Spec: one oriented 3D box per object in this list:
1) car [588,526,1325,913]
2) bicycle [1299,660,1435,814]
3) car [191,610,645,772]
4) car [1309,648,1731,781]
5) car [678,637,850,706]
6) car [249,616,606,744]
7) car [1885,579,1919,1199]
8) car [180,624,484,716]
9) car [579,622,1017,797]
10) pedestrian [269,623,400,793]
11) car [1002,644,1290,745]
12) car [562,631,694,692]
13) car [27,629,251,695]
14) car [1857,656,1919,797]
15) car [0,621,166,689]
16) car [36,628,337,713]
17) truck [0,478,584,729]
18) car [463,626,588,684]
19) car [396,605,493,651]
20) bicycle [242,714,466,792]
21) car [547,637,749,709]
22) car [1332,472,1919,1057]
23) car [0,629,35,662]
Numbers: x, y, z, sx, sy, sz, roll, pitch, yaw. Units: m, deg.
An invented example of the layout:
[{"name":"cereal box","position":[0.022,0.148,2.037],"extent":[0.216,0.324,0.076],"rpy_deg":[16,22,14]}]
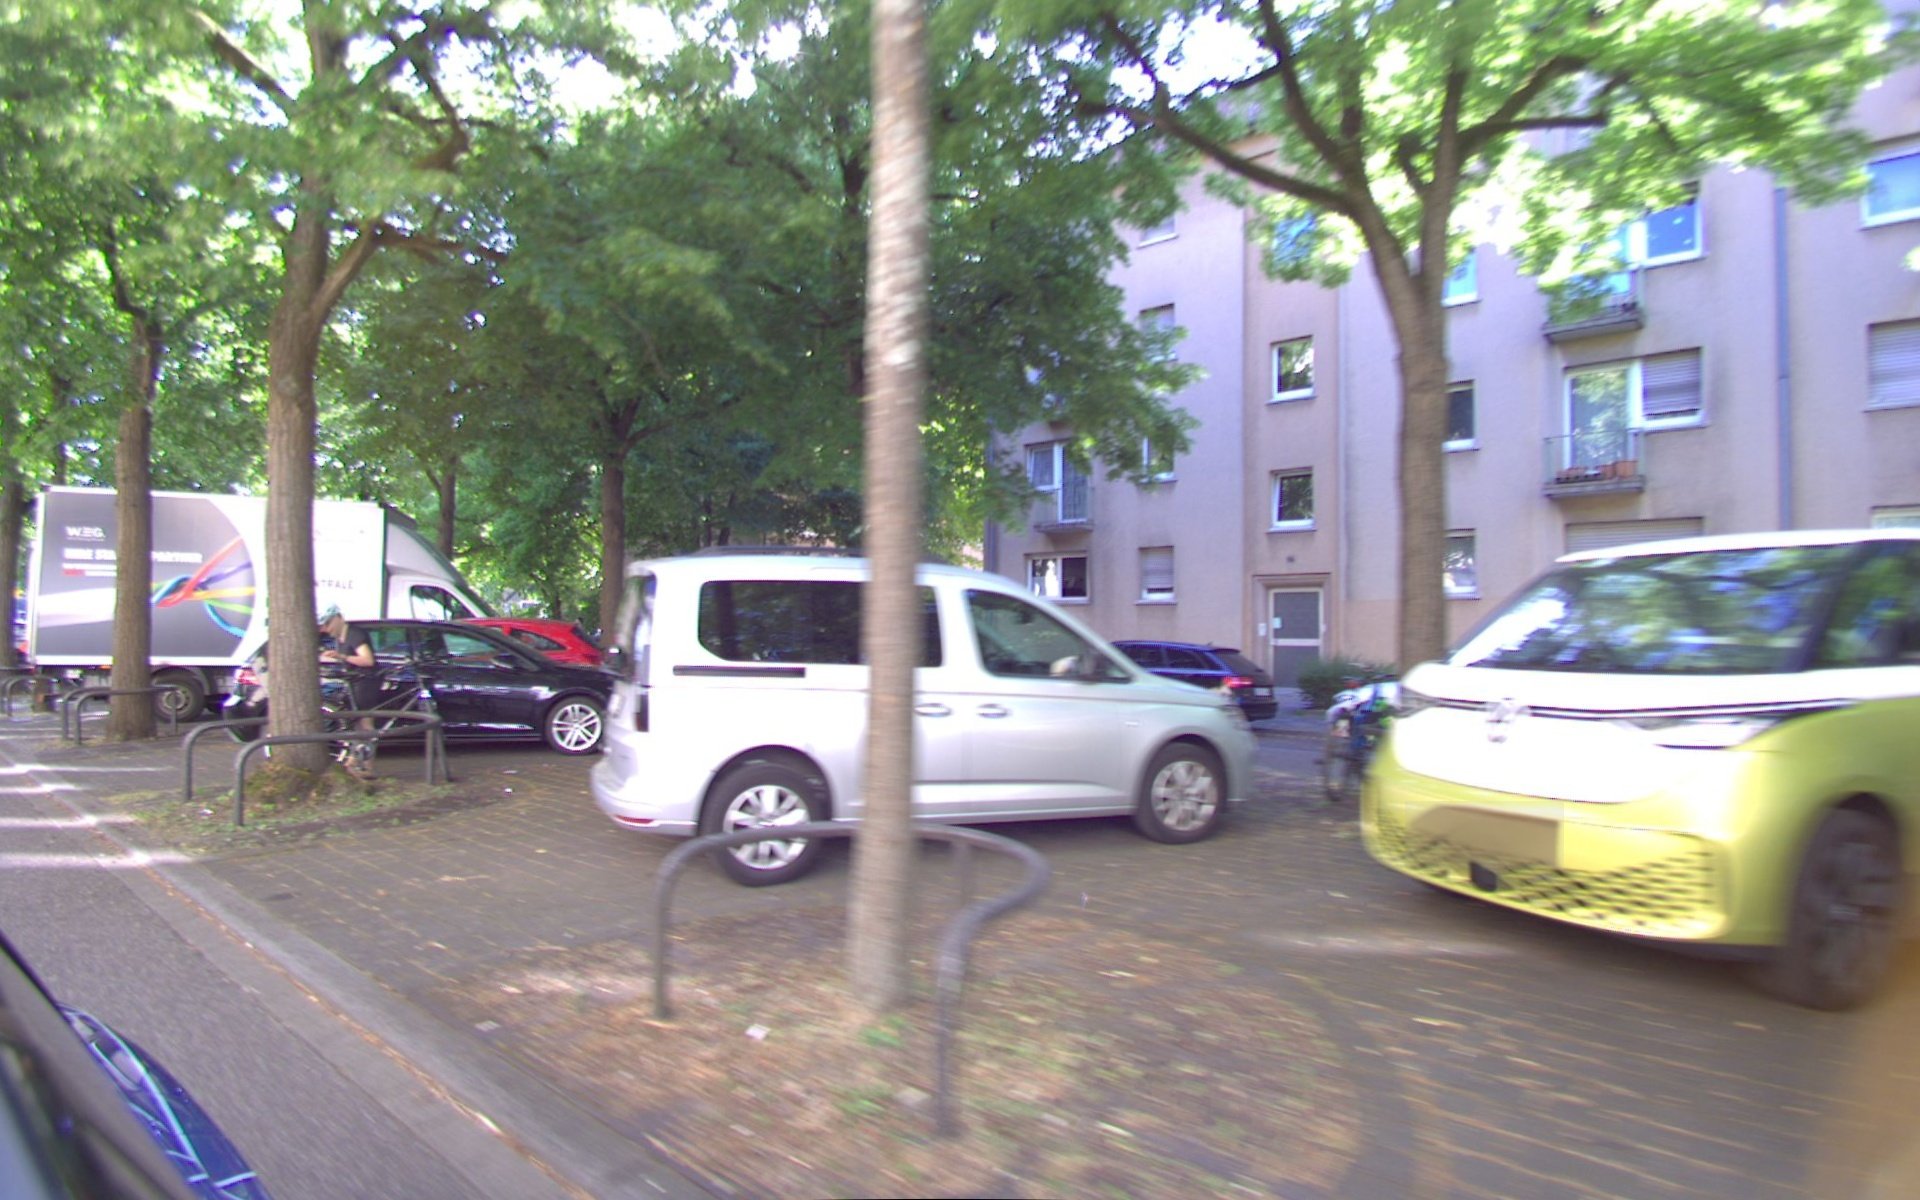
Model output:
[{"name":"car","position":[-0.047,0.618,6.767],"extent":[4.445,1.879,2.088],"rpy_deg":[1,-2,-24]},{"name":"bicycle","position":[3.503,1.096,8.614],"extent":[0.518,1.145,1.918],"rpy_deg":[-2,-3,39]},{"name":"car","position":[-5.519,0.881,10.899],"extent":[4.038,1.518,1.738],"rpy_deg":[0,-2,-17]},{"name":"car","position":[7.166,1.366,13.261],"extent":[4.613,1.403,1.710],"rpy_deg":[-1,-3,40]},{"name":"car","position":[-4.703,1.621,23.942],"extent":[4.342,1.446,1.745],"rpy_deg":[-2,-3,42]},{"name":"car","position":[-6.839,0.980,13.496],"extent":[3.931,1.514,1.854],"rpy_deg":[0,-2,-17]},{"name":"car","position":[4.272,0.694,1.836],"extent":[4.413,1.466,1.793],"rpy_deg":[1,-2,-17]},{"name":"car","position":[-11.057,1.199,18.160],"extent":[4.270,1.518,1.818],"rpy_deg":[1,-2,-15]},{"name":"car","position":[-1.502,0.917,9.500],"extent":[3.737,1.417,1.628],"rpy_deg":[0,-2,-15]},{"name":"pedestrian","position":[-5.475,0.911,8.917],"extent":[0.740,1.407,0.931],"rpy_deg":[1,-2,-17]},{"name":"car","position":[2.980,1.464,16.840],"extent":[4.532,1.417,1.602],"rpy_deg":[-1,-3,40]},{"name":"car","position":[-9.273,1.650,28.138],"extent":[3.948,1.581,1.735],"rpy_deg":[-2,-3,42]},{"name":"car","position":[-19.426,1.441,24.143],"extent":[3.757,1.492,1.767],"rpy_deg":[1,-2,-20]},{"name":"car","position":[11.350,1.275,9.740],"extent":[3.998,1.398,1.872],"rpy_deg":[-1,-3,41]},{"name":"car","position":[-24.398,1.469,27.330],"extent":[4.262,1.684,1.843],"rpy_deg":[-1,-1,-19]},{"name":"car","position":[-14.843,1.320,19.697],"extent":[4.270,1.518,1.818],"rpy_deg":[1,-2,-15]},{"name":"truck","position":[-9.734,0.150,15.618],"extent":[7.200,3.319,2.554],"rpy_deg":[1,-3,-17]},{"name":"car","position":[-13.285,1.639,30.844],"extent":[4.243,1.652,1.736],"rpy_deg":[-1,-2,40]},{"name":"car","position":[-18.237,0.986,35.739],"extent":[3.947,1.523,1.735],"rpy_deg":[-2,-3,41]},{"name":"bicycle","position":[-5.147,1.295,8.680],"extent":[1.586,0.563,0.411],"rpy_deg":[1,-2,-18]},{"name":"car","position":[-6.489,1.465,20.855],"extent":[4.407,1.304,1.747],"rpy_deg":[-1,-4,38]},{"name":"car","position":[4.357,0.597,4.922],"extent":[4.526,1.846,2.025],"rpy_deg":[2,-2,-20]},{"name":"car","position":[-46.284,2.188,48.508],"extent":[1.655,1.519,3.607],"rpy_deg":[-1,-1,-21]}]
